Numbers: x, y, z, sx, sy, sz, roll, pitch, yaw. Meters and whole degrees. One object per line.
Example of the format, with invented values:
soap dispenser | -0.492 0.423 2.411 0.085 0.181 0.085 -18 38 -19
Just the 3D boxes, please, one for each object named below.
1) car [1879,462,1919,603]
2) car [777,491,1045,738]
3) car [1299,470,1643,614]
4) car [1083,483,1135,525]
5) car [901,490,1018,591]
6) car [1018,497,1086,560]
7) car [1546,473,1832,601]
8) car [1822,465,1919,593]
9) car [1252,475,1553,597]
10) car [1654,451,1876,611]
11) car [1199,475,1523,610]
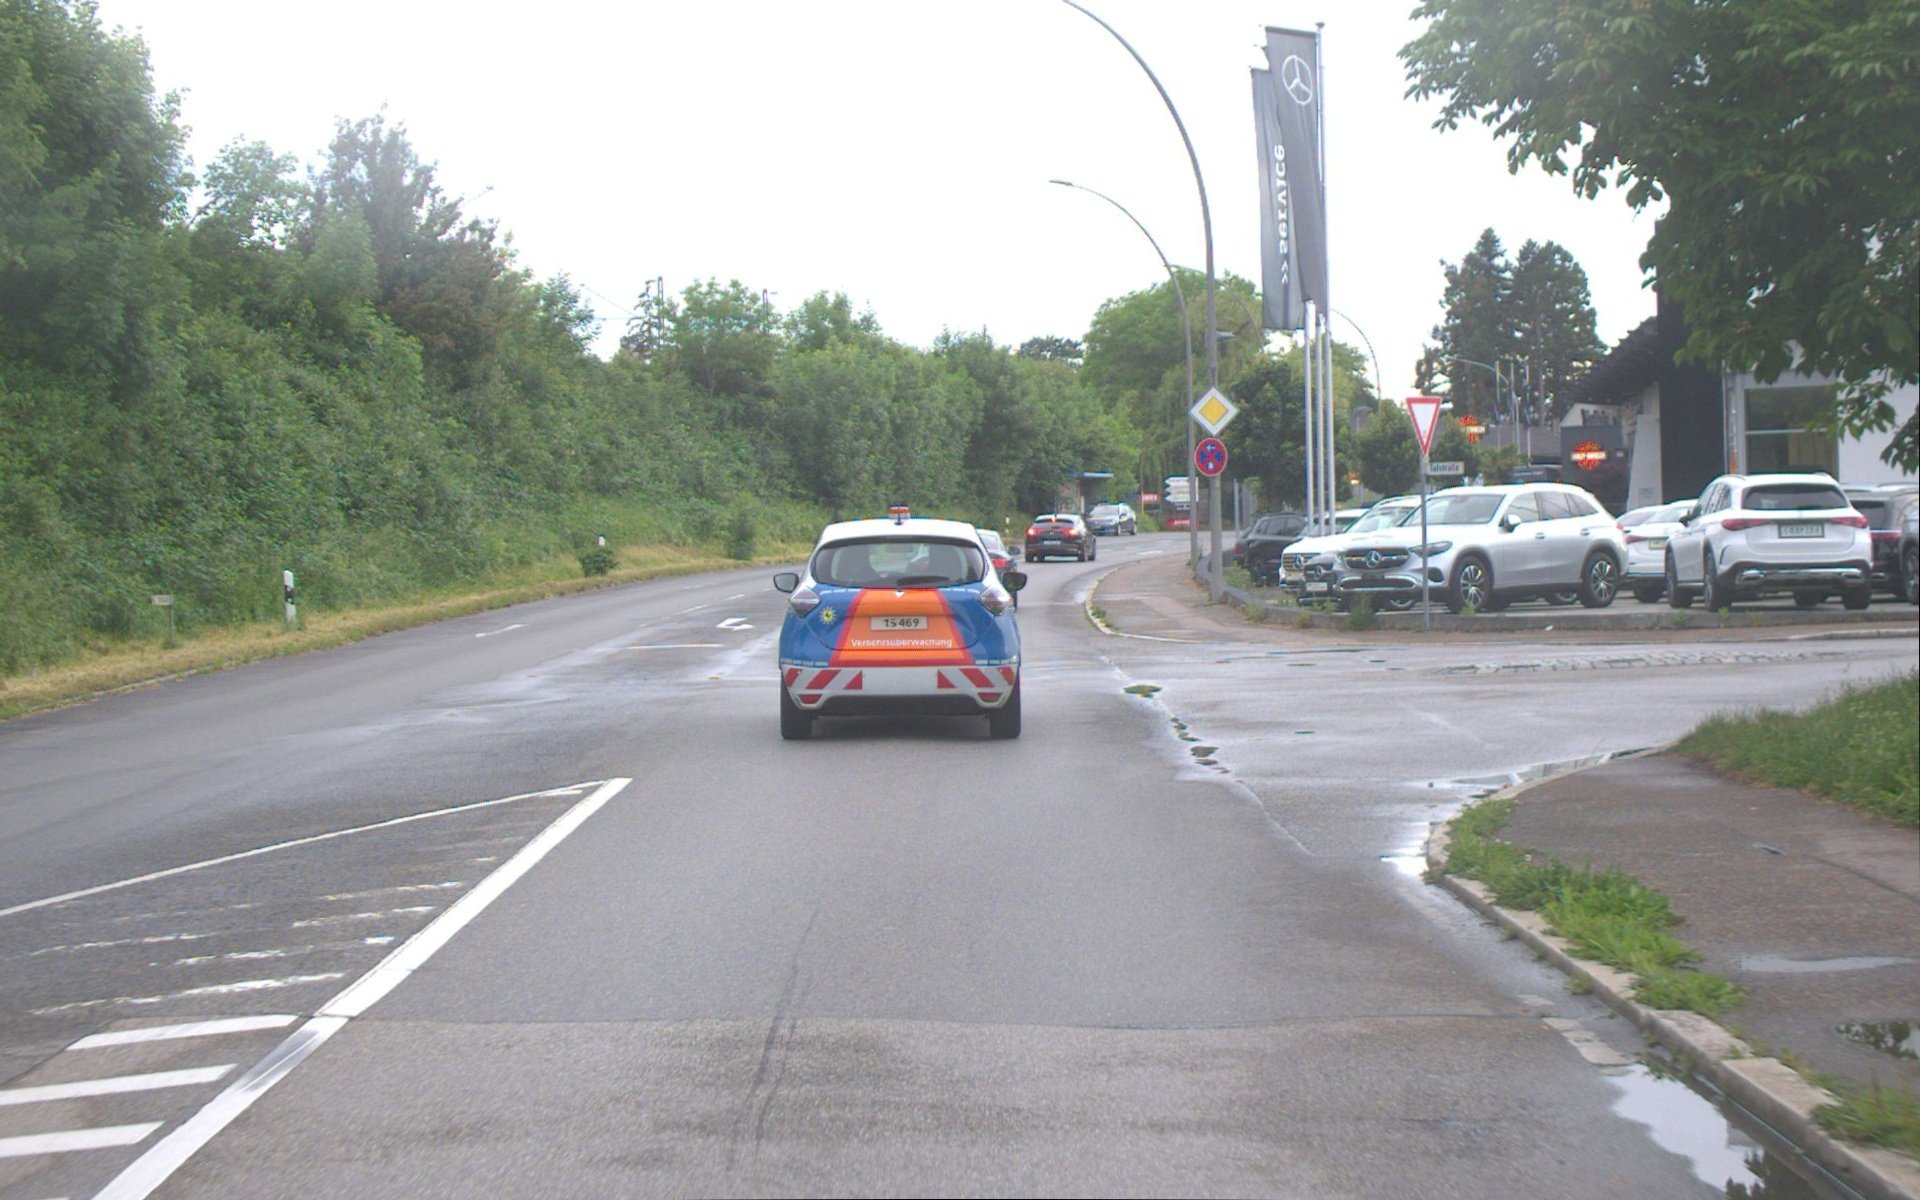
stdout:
car | 12.861 -0.811 41.787 1.936 1.745 4.619 1 1 -3
car | -0.354 0.079 25.542 1.806 1.662 3.856 1 1 -1
car | 6.682 -0.729 44.688 4.606 1.745 2.034 1 1 -45
car | 6.868 -4.410 158.233 1.695 1.784 3.854 1 1 12
car | 0.027 -0.980 57.418 1.694 1.590 3.855 1 1 3
car | 2.771 -2.129 103.025 1.694 1.784 3.855 1 1 6
car | 10.470 -0.922 49.192 1.930 1.745 4.607 2 2 42
car | 14.356 -1.005 48.919 4.606 1.745 1.930 -1 2 -45
car | 6.782 -0.942 52.429 4.604 1.745 1.807 0 -1 -37
car | 9.778 -0.827 42.043 1.826 1.823 4.263 1 1 2
car | 5.616 -0.756 47.758 4.606 1.745 2.034 1 -1 -45
